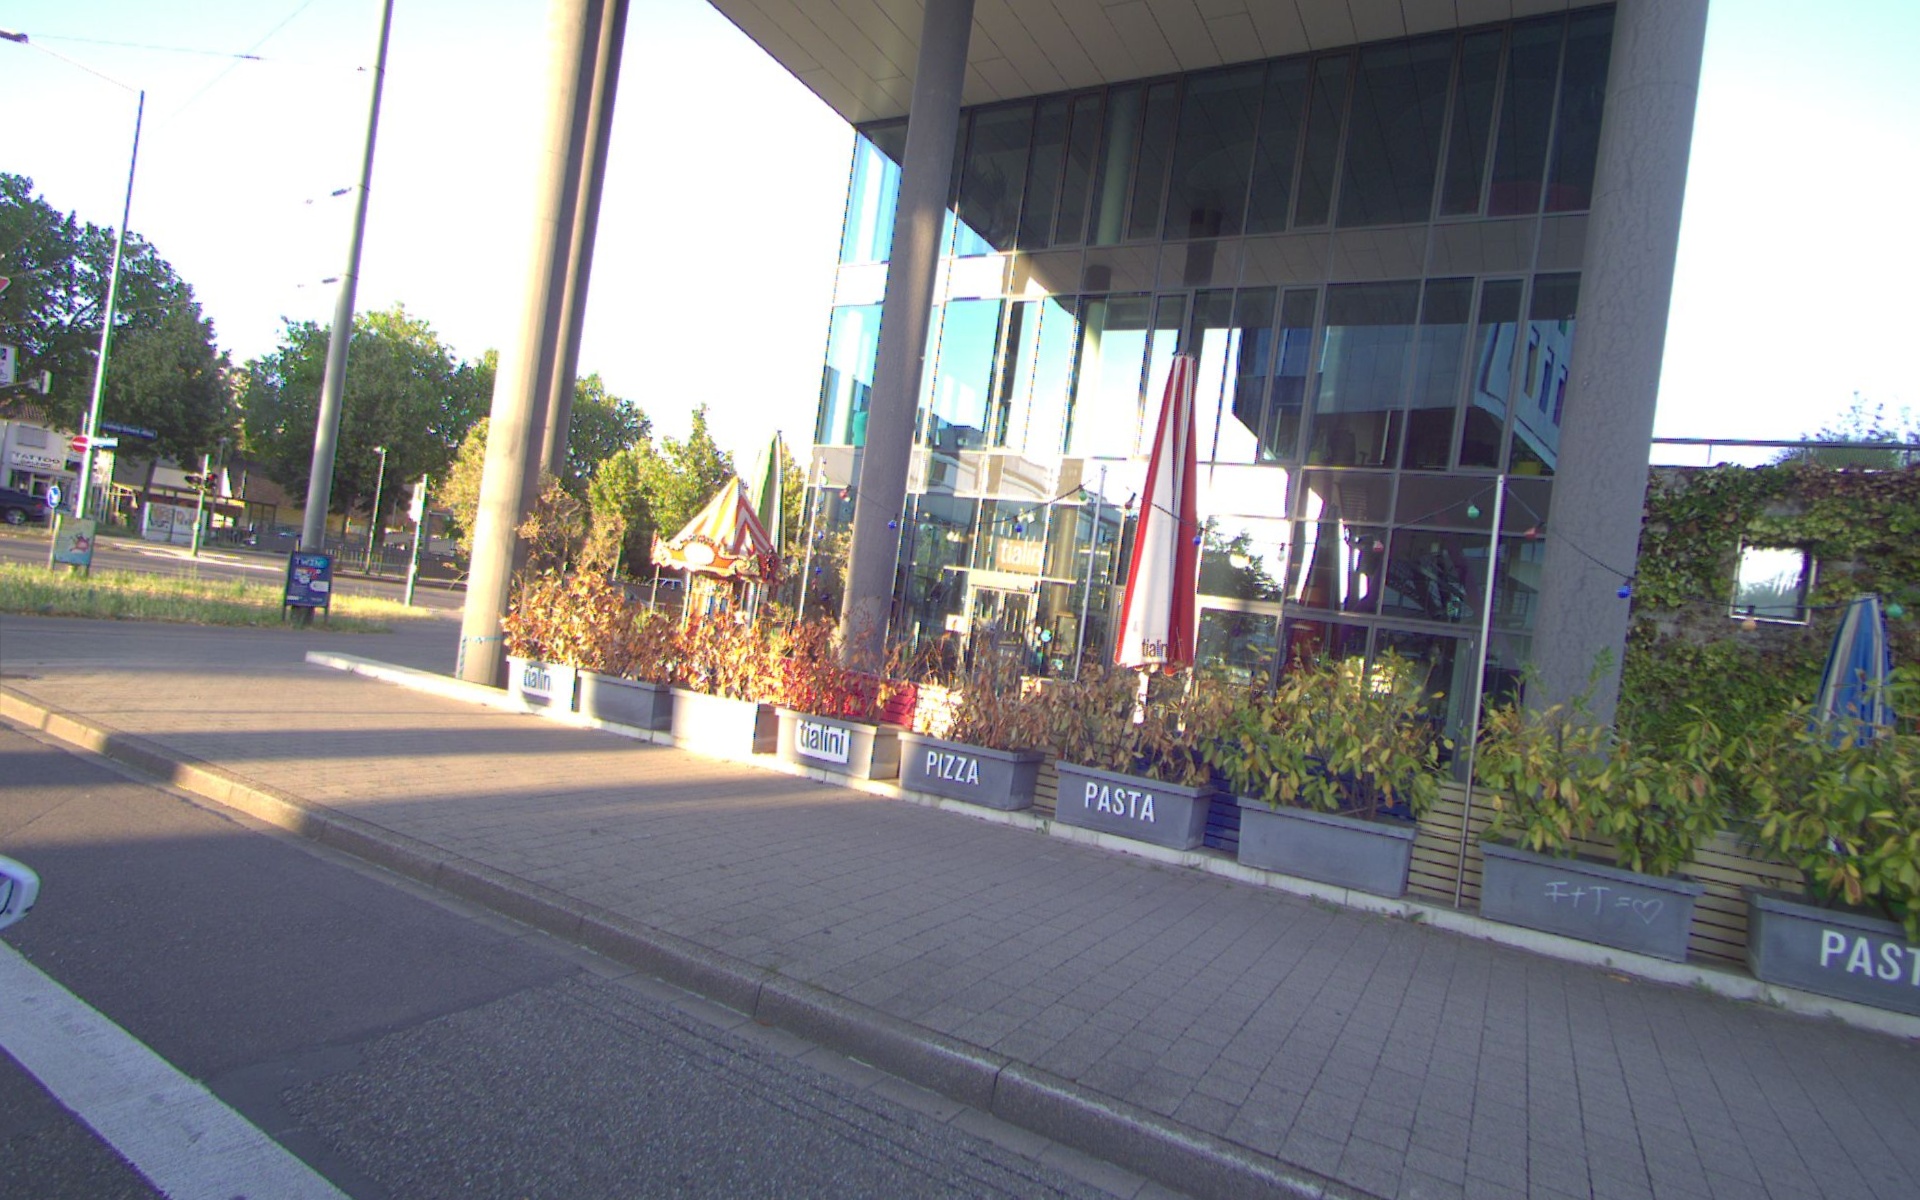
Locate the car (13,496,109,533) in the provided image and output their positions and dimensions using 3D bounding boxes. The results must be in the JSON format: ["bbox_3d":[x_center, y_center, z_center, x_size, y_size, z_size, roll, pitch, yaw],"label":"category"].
[{"bbox_3d":[-50.157,-4.753,56.147,1.641,1.456,3.736,6,-2,41],"label":"car"}]

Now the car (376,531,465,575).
[{"bbox_3d":[-42.609,-3.669,79.549,2.197,2.581,5.594,7,-2,39],"label":"car"}]

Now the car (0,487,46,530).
[{"bbox_3d":[-41.597,-4.123,41.648,1.967,1.570,5.110,6,-2,31],"label":"car"}]

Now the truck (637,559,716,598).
[{"bbox_3d":[-20.929,-1.581,74.478,2.034,2.078,5.567,7,-2,32],"label":"truck"}]

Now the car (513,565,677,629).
[{"bbox_3d":[-12.614,-0.065,35.079,1.958,1.528,5.010,7,-2,37],"label":"car"}]
